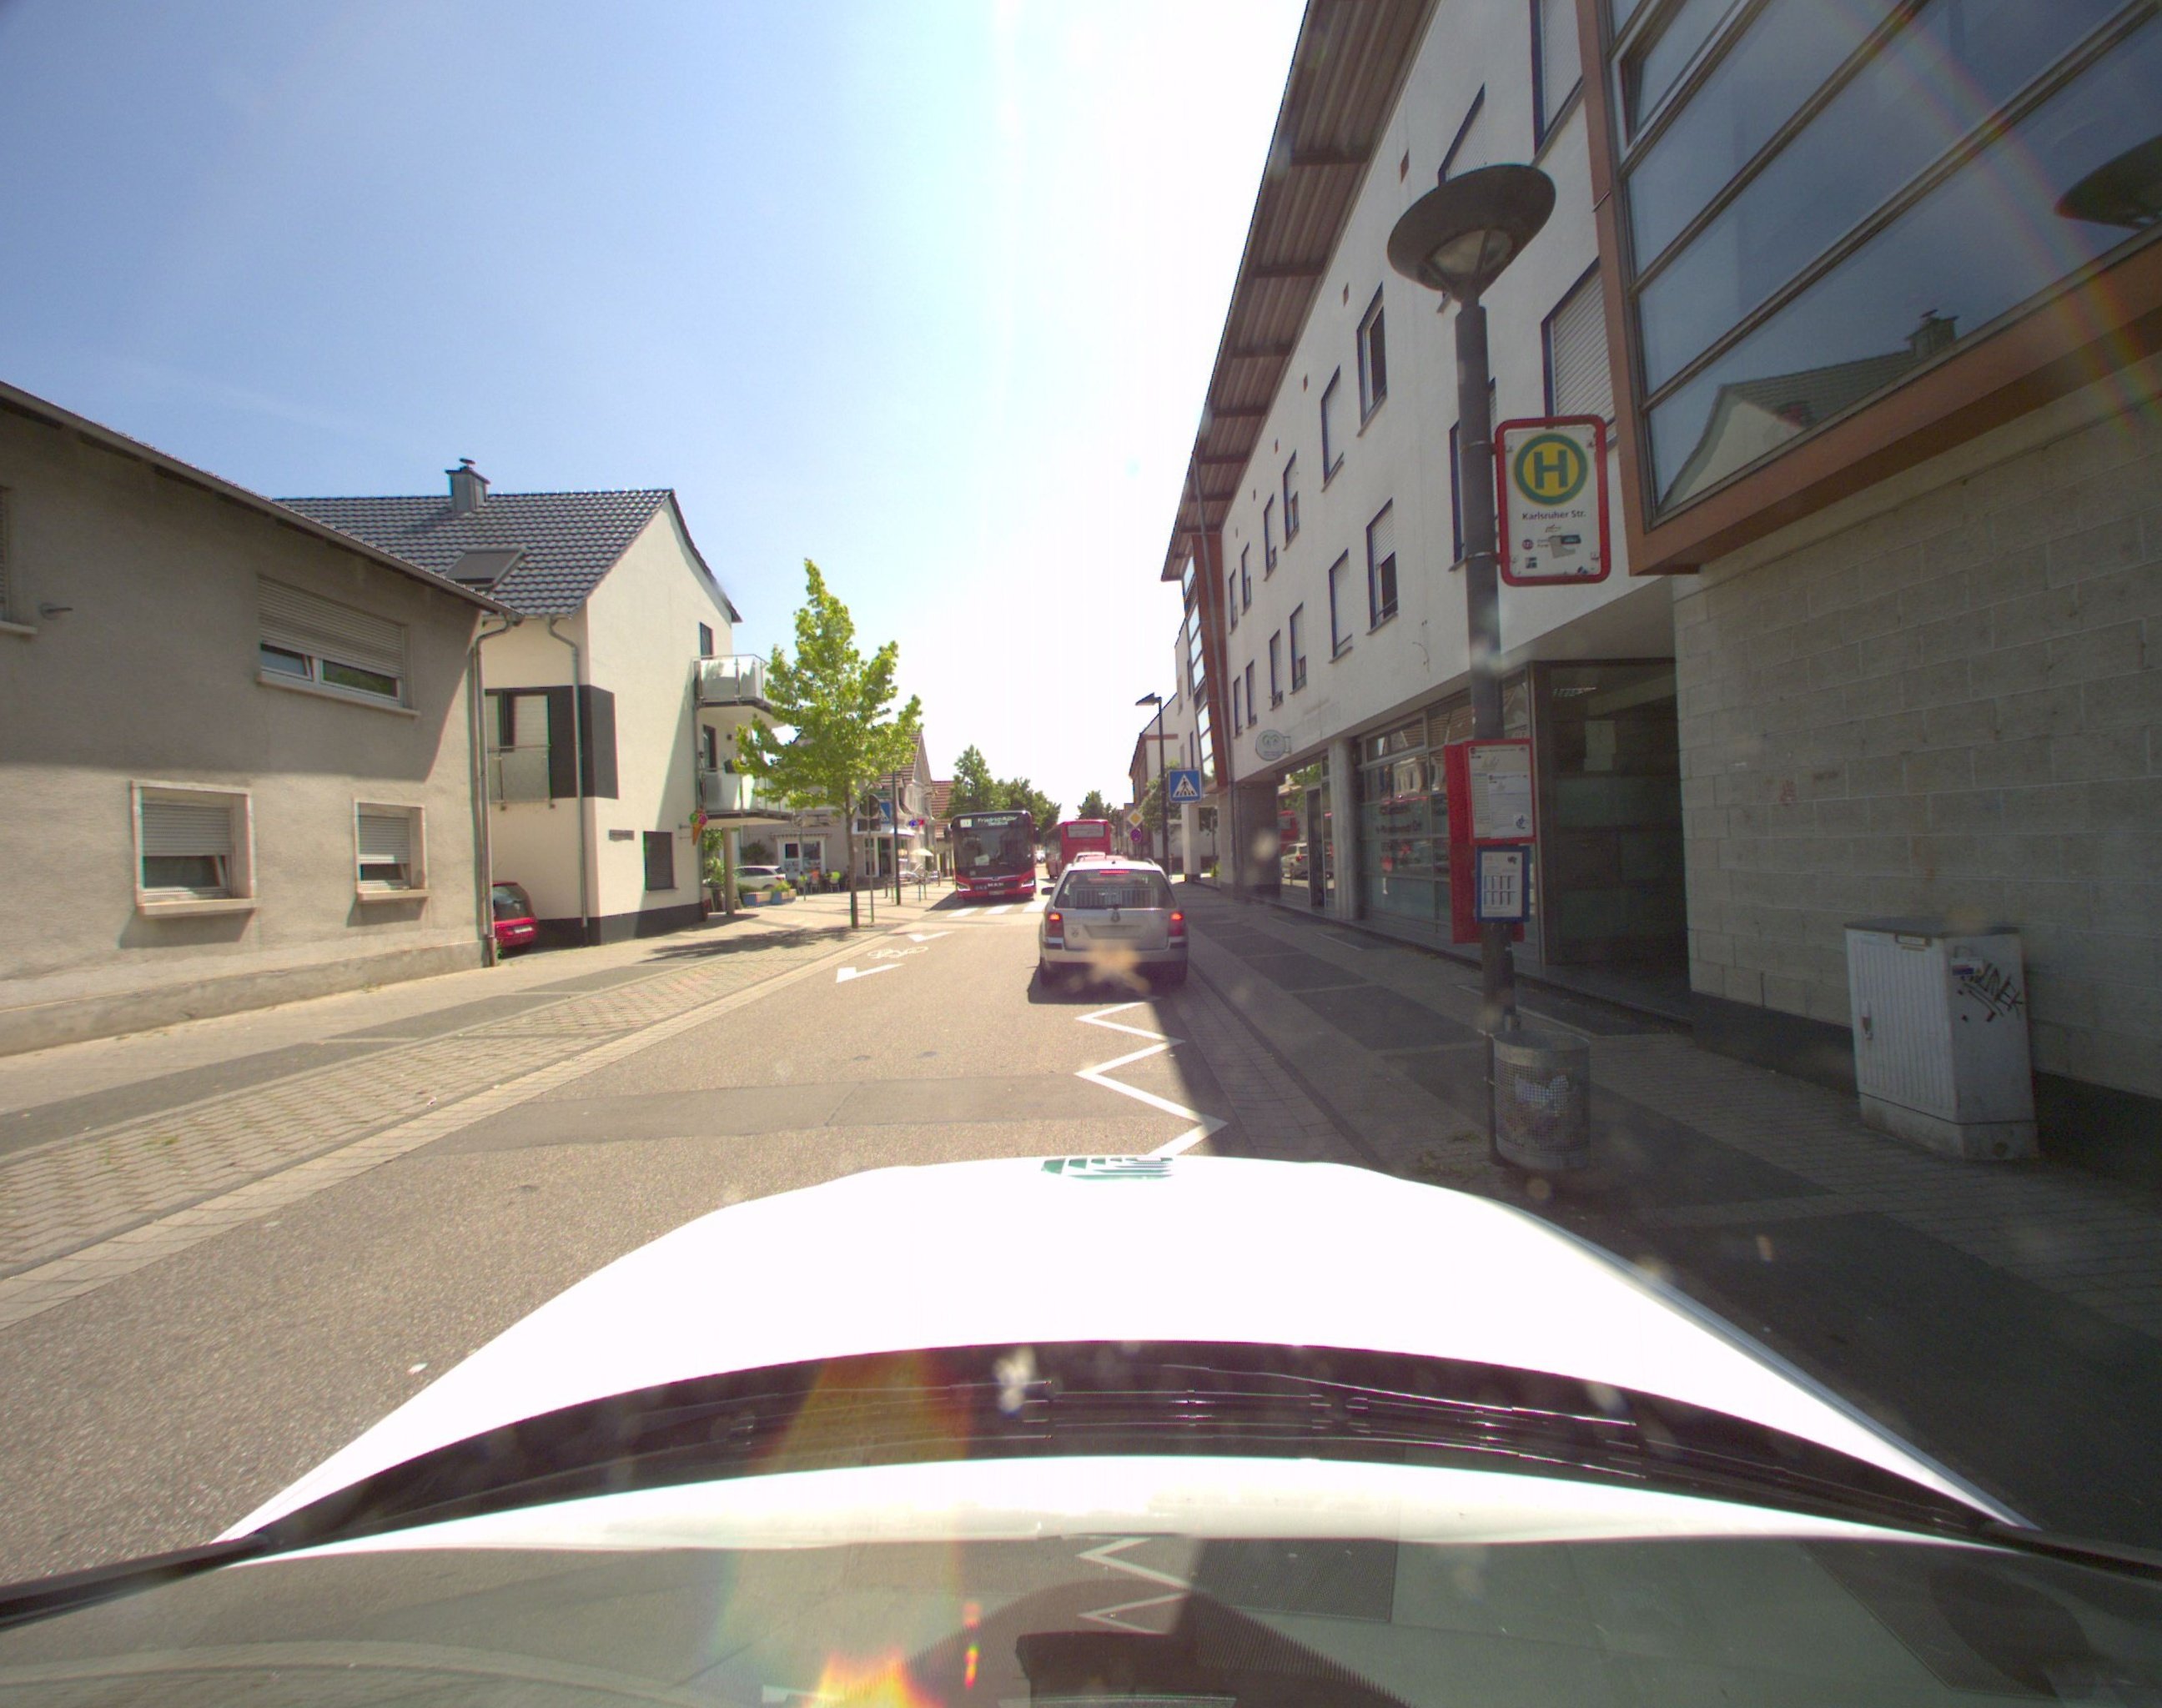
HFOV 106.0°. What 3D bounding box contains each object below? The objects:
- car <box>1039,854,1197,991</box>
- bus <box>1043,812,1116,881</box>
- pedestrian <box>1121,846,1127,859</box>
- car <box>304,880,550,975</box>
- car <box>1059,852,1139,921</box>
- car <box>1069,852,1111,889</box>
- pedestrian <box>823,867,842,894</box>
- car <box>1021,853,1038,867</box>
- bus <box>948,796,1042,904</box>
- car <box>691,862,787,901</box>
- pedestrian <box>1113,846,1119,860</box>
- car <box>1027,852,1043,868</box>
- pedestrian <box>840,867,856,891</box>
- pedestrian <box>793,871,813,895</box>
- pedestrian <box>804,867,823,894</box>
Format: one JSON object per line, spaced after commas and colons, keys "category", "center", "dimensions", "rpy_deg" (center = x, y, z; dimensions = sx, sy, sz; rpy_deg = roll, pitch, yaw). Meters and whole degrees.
{"category": "car", "center": [0.400, 0.722, 10.471], "dimensions": [1.671, 1.430, 3.679], "rpy_deg": [-1, 0, 0]}
{"category": "bus", "center": [-0.364, -0.349, 46.456], "dimensions": [2.737, 3.298, 12.677], "rpy_deg": [-2, 0, -6]}
{"category": "pedestrian", "center": [5.400, -0.217, 102.728], "dimensions": [0.604, 1.667, 0.789], "rpy_deg": [-2, 0, -2]}
{"category": "car", "center": [-11.923, 1.298, 15.028], "dimensions": [3.109, 1.443, 1.584], "rpy_deg": [-3, 0, -6]}
{"category": "car", "center": [0.387, 0.696, 19.426], "dimensions": [1.671, 1.430, 3.679], "rpy_deg": [-2, 0, 0]}
{"category": "car", "center": [0.394, 0.634, 33.817], "dimensions": [1.588, 1.430, 3.680], "rpy_deg": [-1, 0, 1]}
{"category": "pedestrian", "center": [-12.395, 1.316, 40.608], "dimensions": [0.639, 1.289, 0.780], "rpy_deg": [0, -1, -43]}
{"category": "car", "center": [-6.206, 0.732, 98.418], "dimensions": [1.806, 1.559, 3.999], "rpy_deg": [-2, 0, 0]}
{"category": "bus", "center": [-3.301, -0.116, 34.160], "dimensions": [2.664, 3.123, 17.779], "rpy_deg": [-5, 0, -4]}
{"category": "car", "center": [-16.012, 1.270, 38.302], "dimensions": [3.925, 1.545, 1.510], "rpy_deg": [-3, 2, -17]}
{"category": "pedestrian", "center": [4.403, -0.151, 102.853], "dimensions": [0.604, 1.667, 0.789], "rpy_deg": [-2, 0, -2]}
{"category": "car", "center": [-6.272, 0.794, 110.953], "dimensions": [1.806, 1.995, 3.999], "rpy_deg": [-2, 0, 0]}
{"category": "pedestrian", "center": [-11.953, 1.297, 41.780], "dimensions": [0.621, 1.179, 0.695], "rpy_deg": [-2, 0, -4]}
{"category": "pedestrian", "center": [-13.624, 1.420, 39.890], "dimensions": [0.639, 1.116, 0.780], "rpy_deg": [0, -1, -43]}
{"category": "pedestrian", "center": [-13.381, 1.310, 40.773], "dimensions": [0.639, 1.289, 0.780], "rpy_deg": [0, -1, -43]}
